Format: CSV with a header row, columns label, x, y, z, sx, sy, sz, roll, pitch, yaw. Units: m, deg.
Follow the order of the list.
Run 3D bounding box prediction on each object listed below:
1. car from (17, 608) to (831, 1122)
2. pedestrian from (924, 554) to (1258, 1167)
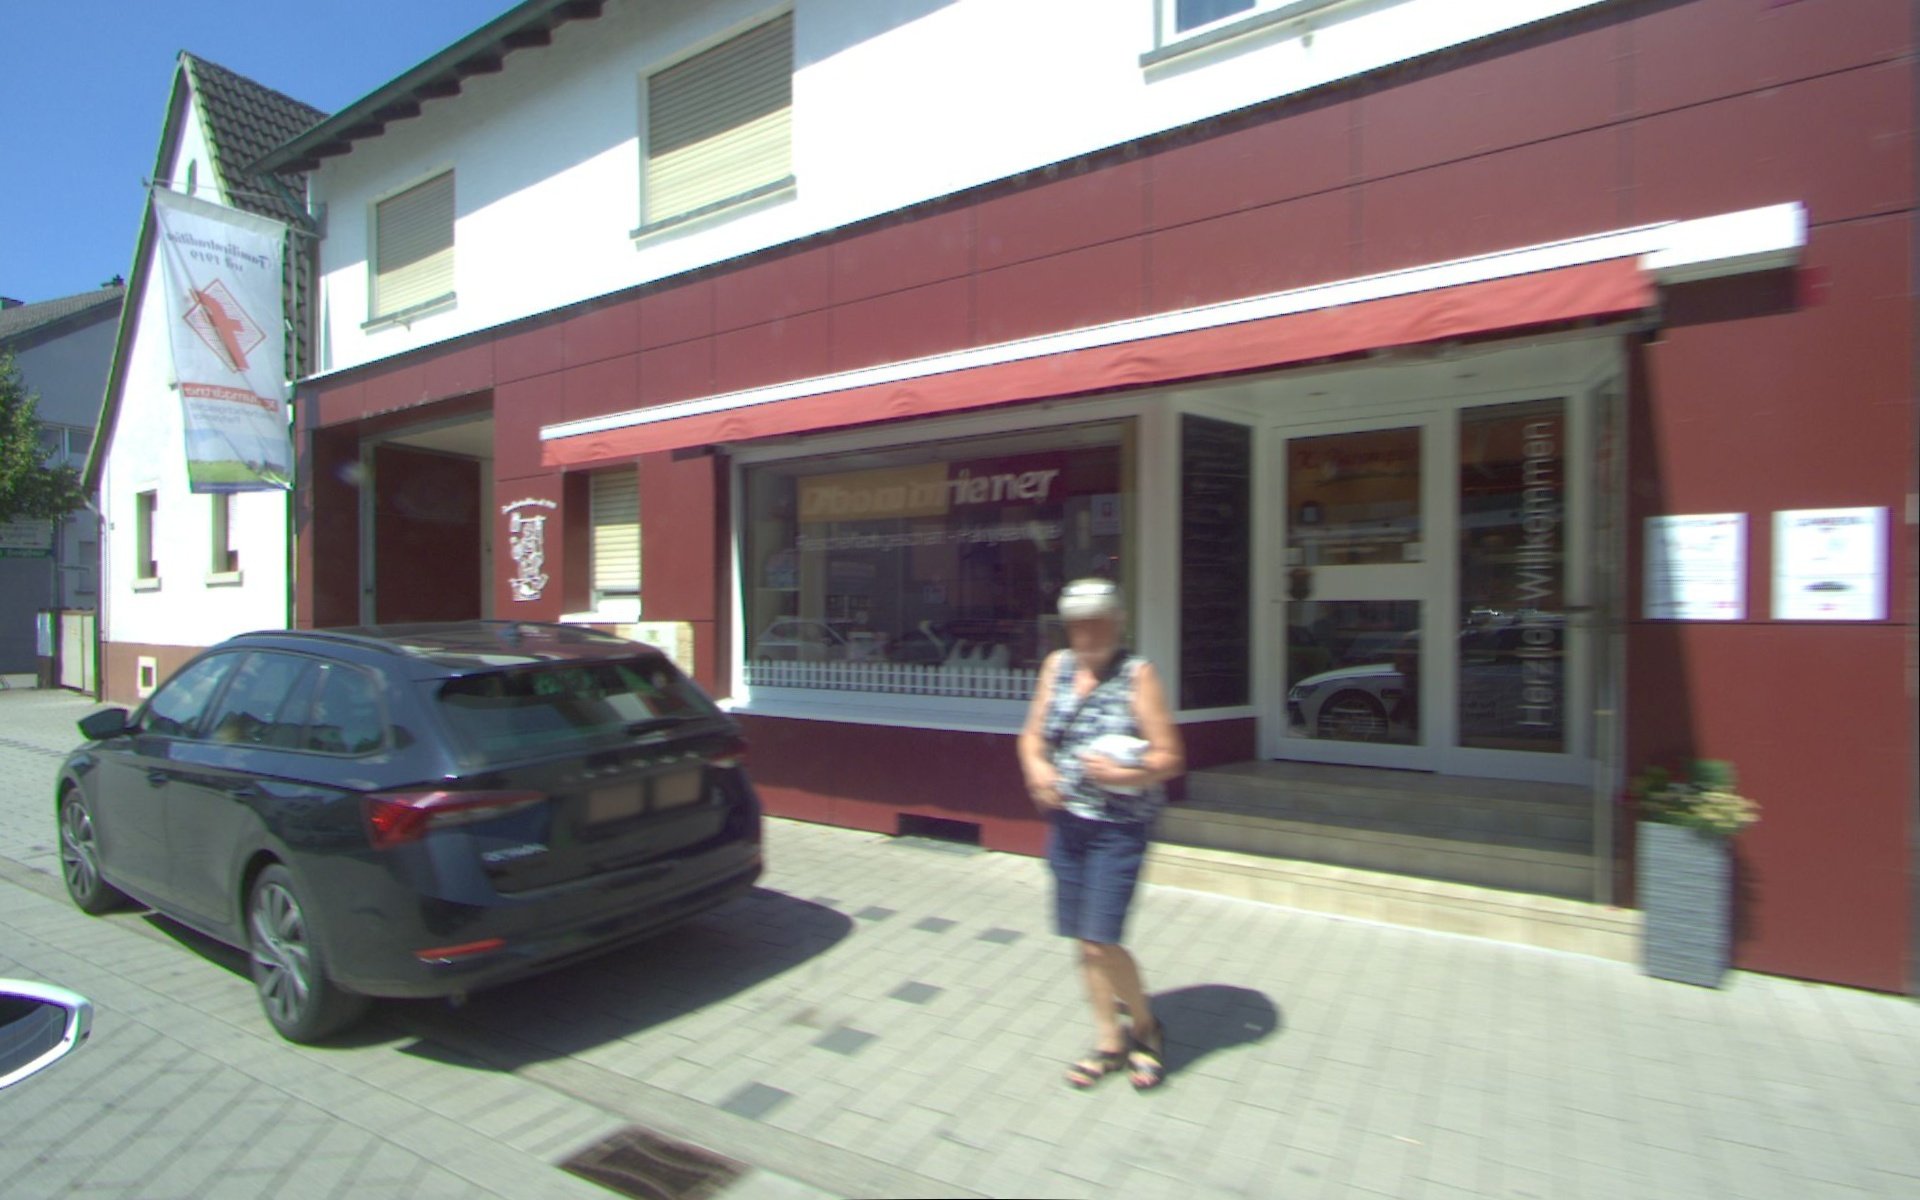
label,x,y,z,sx,sy,sz,roll,pitch,yaw
car,-2.943,0.808,5.064,4.526,1.479,1.851,0,1,36
pedestrian,0.411,0.702,3.216,0.722,1.662,0.744,-3,3,-35
